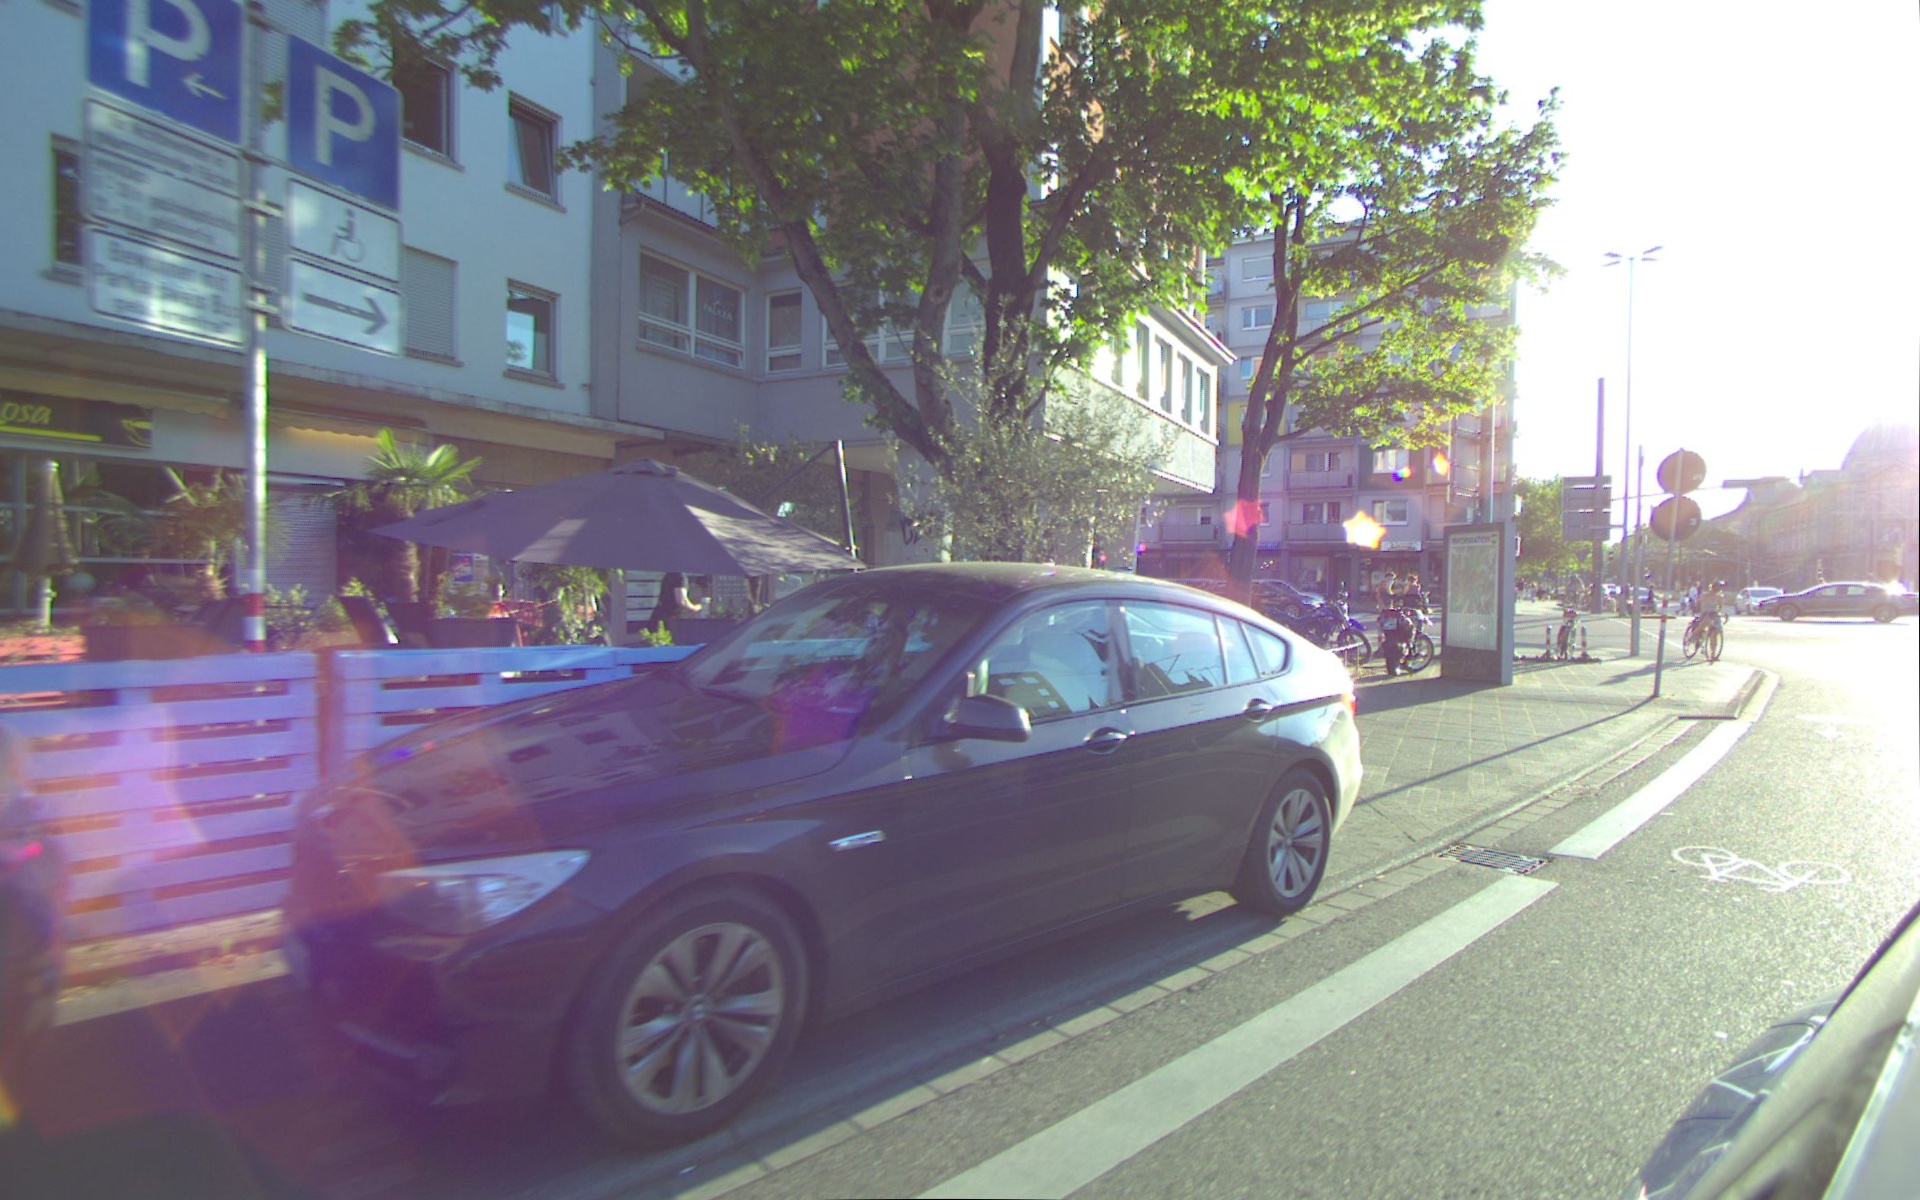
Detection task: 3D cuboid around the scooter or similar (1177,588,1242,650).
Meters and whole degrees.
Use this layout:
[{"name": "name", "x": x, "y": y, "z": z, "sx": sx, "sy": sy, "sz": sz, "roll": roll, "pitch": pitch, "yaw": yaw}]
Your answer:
[{"name": "scooter or similar", "x": 5.213, "y": 0.382, "z": 21.149, "sx": 1.495, "sy": 1.279, "sz": 0.310, "roll": 0, "pitch": 0, "yaw": -28}]

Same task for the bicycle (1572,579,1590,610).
[{"name": "bicycle", "x": 24.344, "y": -0.235, "z": 39.642, "sx": 0.487, "sy": 1.197, "sz": 1.947, "roll": 0, "pitch": 0, "yaw": 35}]

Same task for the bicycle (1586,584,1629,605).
[{"name": "bicycle", "x": 34.783, "y": -0.298, "z": 54.388, "sx": 1.942, "sy": 1.134, "sz": 0.453, "roll": 0, "pitch": 0, "yaw": 32}]

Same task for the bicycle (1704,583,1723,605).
[{"name": "bicycle", "x": 42.737, "y": -0.360, "z": 57.408, "sx": 0.570, "sy": 1.215, "sz": 2.184, "roll": 0, "pitch": 1, "yaw": 28}]

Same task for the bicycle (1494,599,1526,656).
[{"name": "bicycle", "x": 10.820, "y": 0.515, "z": 19.933, "sx": 0.357, "sy": 1.040, "sz": 1.781, "roll": 0, "pitch": 1, "yaw": 22}]

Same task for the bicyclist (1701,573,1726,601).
[{"name": "bicyclist", "x": 42.737, "y": -0.722, "z": 57.394, "sx": 0.987, "sy": 1.557, "sz": 0.914, "roll": 0, "pitch": 0, "yaw": 29}]

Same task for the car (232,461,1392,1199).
[{"name": "car", "x": -0.115, "y": 0.539, "z": 4.330, "sx": 4.730, "sy": 1.691, "sz": 1.807, "roll": 0, "pitch": 1, "yaw": -42}]

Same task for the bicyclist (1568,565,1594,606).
[{"name": "bicyclist", "x": 24.364, "y": -0.583, "z": 39.702, "sx": 0.818, "sy": 1.588, "sz": 0.724, "roll": 0, "pitch": 0, "yaw": 37}]

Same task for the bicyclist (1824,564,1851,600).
[{"name": "bicyclist", "x": 39.206, "y": -0.821, "z": 45.227, "sx": 0.727, "sy": 1.588, "sz": 0.814, "roll": 0, "pitch": 0, "yaw": 30}]

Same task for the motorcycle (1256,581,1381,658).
[{"name": "motorcycle", "x": 6.661, "y": 0.347, "z": 18.840, "sx": 2.128, "sy": 1.371, "sz": 0.637, "roll": 0, "pitch": 0, "yaw": 28}]

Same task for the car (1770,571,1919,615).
[{"name": "car", "x": 33.884, "y": -0.289, "z": 38.195, "sx": 5.013, "sy": 1.454, "sz": 1.855, "roll": 3, "pitch": 3, "yaw": 37}]

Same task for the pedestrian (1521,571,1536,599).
[{"name": "pedestrian", "x": 44.460, "y": -1.149, "z": 79.129, "sx": 0.713, "sy": 2.036, "sz": 0.639, "roll": 9, "pitch": -8, "yaw": 30}]

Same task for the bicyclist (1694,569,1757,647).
[{"name": "bicyclist", "x": 15.013, "y": 0.144, "z": 19.873, "sx": 0.788, "sy": 1.499, "sz": 0.801, "roll": 0, "pitch": 0, "yaw": 21}]

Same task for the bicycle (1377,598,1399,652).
[{"name": "bicycle", "x": 8.726, "y": 0.491, "z": 20.639, "sx": 0.361, "sy": 1.040, "sz": 1.782, "roll": 0, "pitch": 1, "yaw": 21}]

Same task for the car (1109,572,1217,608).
[{"name": "car", "x": 8.807, "y": -0.449, "z": 44.003, "sx": 4.214, "sy": 1.487, "sz": 1.975, "roll": 0, "pitch": 1, "yaw": 35}]

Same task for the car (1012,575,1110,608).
[{"name": "car", "x": 4.889, "y": -0.429, "z": 49.172, "sx": 4.498, "sy": 1.514, "sz": 1.688, "roll": 1, "pitch": 1, "yaw": 29}]

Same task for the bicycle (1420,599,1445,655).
[{"name": "bicycle", "x": 9.484, "y": 0.517, "z": 20.327, "sx": 0.357, "sy": 1.040, "sz": 1.781, "roll": 0, "pitch": 1, "yaw": 22}]

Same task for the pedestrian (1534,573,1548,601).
[{"name": "pedestrian", "x": 45.072, "y": -0.980, "z": 78.538, "sx": 0.650, "sy": 2.037, "sz": 0.743, "roll": 9, "pitch": -2, "yaw": 30}]

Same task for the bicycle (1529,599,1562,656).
[{"name": "bicycle", "x": 11.346, "y": 0.515, "z": 19.645, "sx": 0.357, "sy": 1.040, "sz": 1.780, "roll": 0, "pitch": 1, "yaw": 24}]

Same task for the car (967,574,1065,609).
[{"name": "car", "x": 2.412, "y": -0.386, "z": 43.828, "sx": 3.895, "sy": 1.469, "sz": 1.783, "roll": 1, "pitch": 1, "yaw": 33}]

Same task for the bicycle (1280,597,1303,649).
[{"name": "bicycle", "x": 7.105, "y": 0.467, "z": 21.663, "sx": 0.361, "sy": 1.040, "sz": 1.782, "roll": 0, "pitch": 1, "yaw": 21}]

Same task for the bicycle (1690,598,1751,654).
[{"name": "bicycle", "x": 15.087, "y": 0.499, "z": 20.111, "sx": 0.510, "sy": 1.040, "sz": 1.782, "roll": 0, "pitch": 1, "yaw": 21}]

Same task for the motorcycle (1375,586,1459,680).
[{"name": "motorcycle", "x": 7.164, "y": 0.468, "z": 15.817, "sx": 0.640, "sy": 1.361, "sz": 2.170, "roll": 0, "pitch": 0, "yaw": 40}]

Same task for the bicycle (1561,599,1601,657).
[{"name": "bicycle", "x": 11.853, "y": 0.502, "z": 19.357, "sx": 0.357, "sy": 1.040, "sz": 1.781, "roll": 0, "pitch": 1, "yaw": 22}]

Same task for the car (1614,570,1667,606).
[{"name": "car", "x": 40.913, "y": -0.727, "z": 60.904, "sx": 1.979, "sy": 2.039, "sz": 3.967, "roll": 0, "pitch": 1, "yaw": 24}]

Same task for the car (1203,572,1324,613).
[{"name": "car", "x": 11.593, "y": -0.293, "z": 38.740, "sx": 4.152, "sy": 1.443, "sz": 1.913, "roll": 0, "pitch": 3, "yaw": 29}]

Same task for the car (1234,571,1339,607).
[{"name": "car", "x": 14.146, "y": -0.468, "z": 43.935, "sx": 3.985, "sy": 1.487, "sz": 1.896, "roll": 0, "pitch": 1, "yaw": 35}]

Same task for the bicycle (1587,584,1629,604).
[{"name": "bicycle", "x": 35.849, "y": -0.331, "z": 56.038, "sx": 1.942, "sy": 1.134, "sz": 0.453, "roll": 0, "pitch": 0, "yaw": 32}]

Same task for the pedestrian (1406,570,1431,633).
[{"name": "pedestrian", "x": 12.198, "y": 0.028, "z": 26.927, "sx": 0.514, "sy": 1.665, "sz": 0.699, "roll": 0, "pitch": 1, "yaw": 32}]

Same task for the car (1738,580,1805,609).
[{"name": "car", "x": 42.981, "y": -0.312, "z": 53.713, "sx": 1.937, "sy": 1.512, "sz": 3.923, "roll": 0, "pitch": 1, "yaw": 26}]

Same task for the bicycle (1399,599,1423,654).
[{"name": "bicycle", "x": 9.116, "y": 0.504, "z": 20.472, "sx": 0.361, "sy": 1.040, "sz": 1.782, "roll": 0, "pitch": 1, "yaw": 21}]

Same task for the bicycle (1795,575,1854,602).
[{"name": "bicycle", "x": 38.835, "y": -0.537, "z": 45.473, "sx": 1.954, "sy": 1.197, "sz": 0.485, "roll": 0, "pitch": 0, "yaw": 30}]

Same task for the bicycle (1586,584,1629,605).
[{"name": "bicycle", "x": 35.558, "y": -0.321, "z": 55.585, "sx": 1.942, "sy": 1.134, "sz": 0.453, "roll": 0, "pitch": 0, "yaw": 32}]

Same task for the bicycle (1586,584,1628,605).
[{"name": "bicycle", "x": 35.253, "y": -0.311, "z": 55.154, "sx": 1.942, "sy": 1.134, "sz": 0.453, "roll": 0, "pitch": 0, "yaw": 32}]

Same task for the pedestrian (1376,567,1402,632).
[{"name": "pedestrian", "x": 11.551, "y": -0.022, "z": 27.251, "sx": 0.514, "sy": 1.714, "sz": 0.764, "roll": 1, "pitch": 1, "yaw": 32}]

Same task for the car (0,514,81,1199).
[{"name": "car", "x": -3.776, "y": 0.627, "z": 1.259, "sx": 3.994, "sy": 1.554, "sz": 1.654, "roll": -1, "pitch": 1, "yaw": -40}]

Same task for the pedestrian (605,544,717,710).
[{"name": "pedestrian", "x": -3.305, "y": 0.276, "z": 11.233, "sx": 0.883, "sy": 1.747, "sz": 0.769, "roll": 2, "pitch": 1, "yaw": 21}]

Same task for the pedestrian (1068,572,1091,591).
[{"name": "pedestrian", "x": 7.339, "y": -1.134, "z": 62.123, "sx": 0.887, "sy": 1.181, "sz": 1.047, "roll": 0, "pitch": 0, "yaw": -35}]
